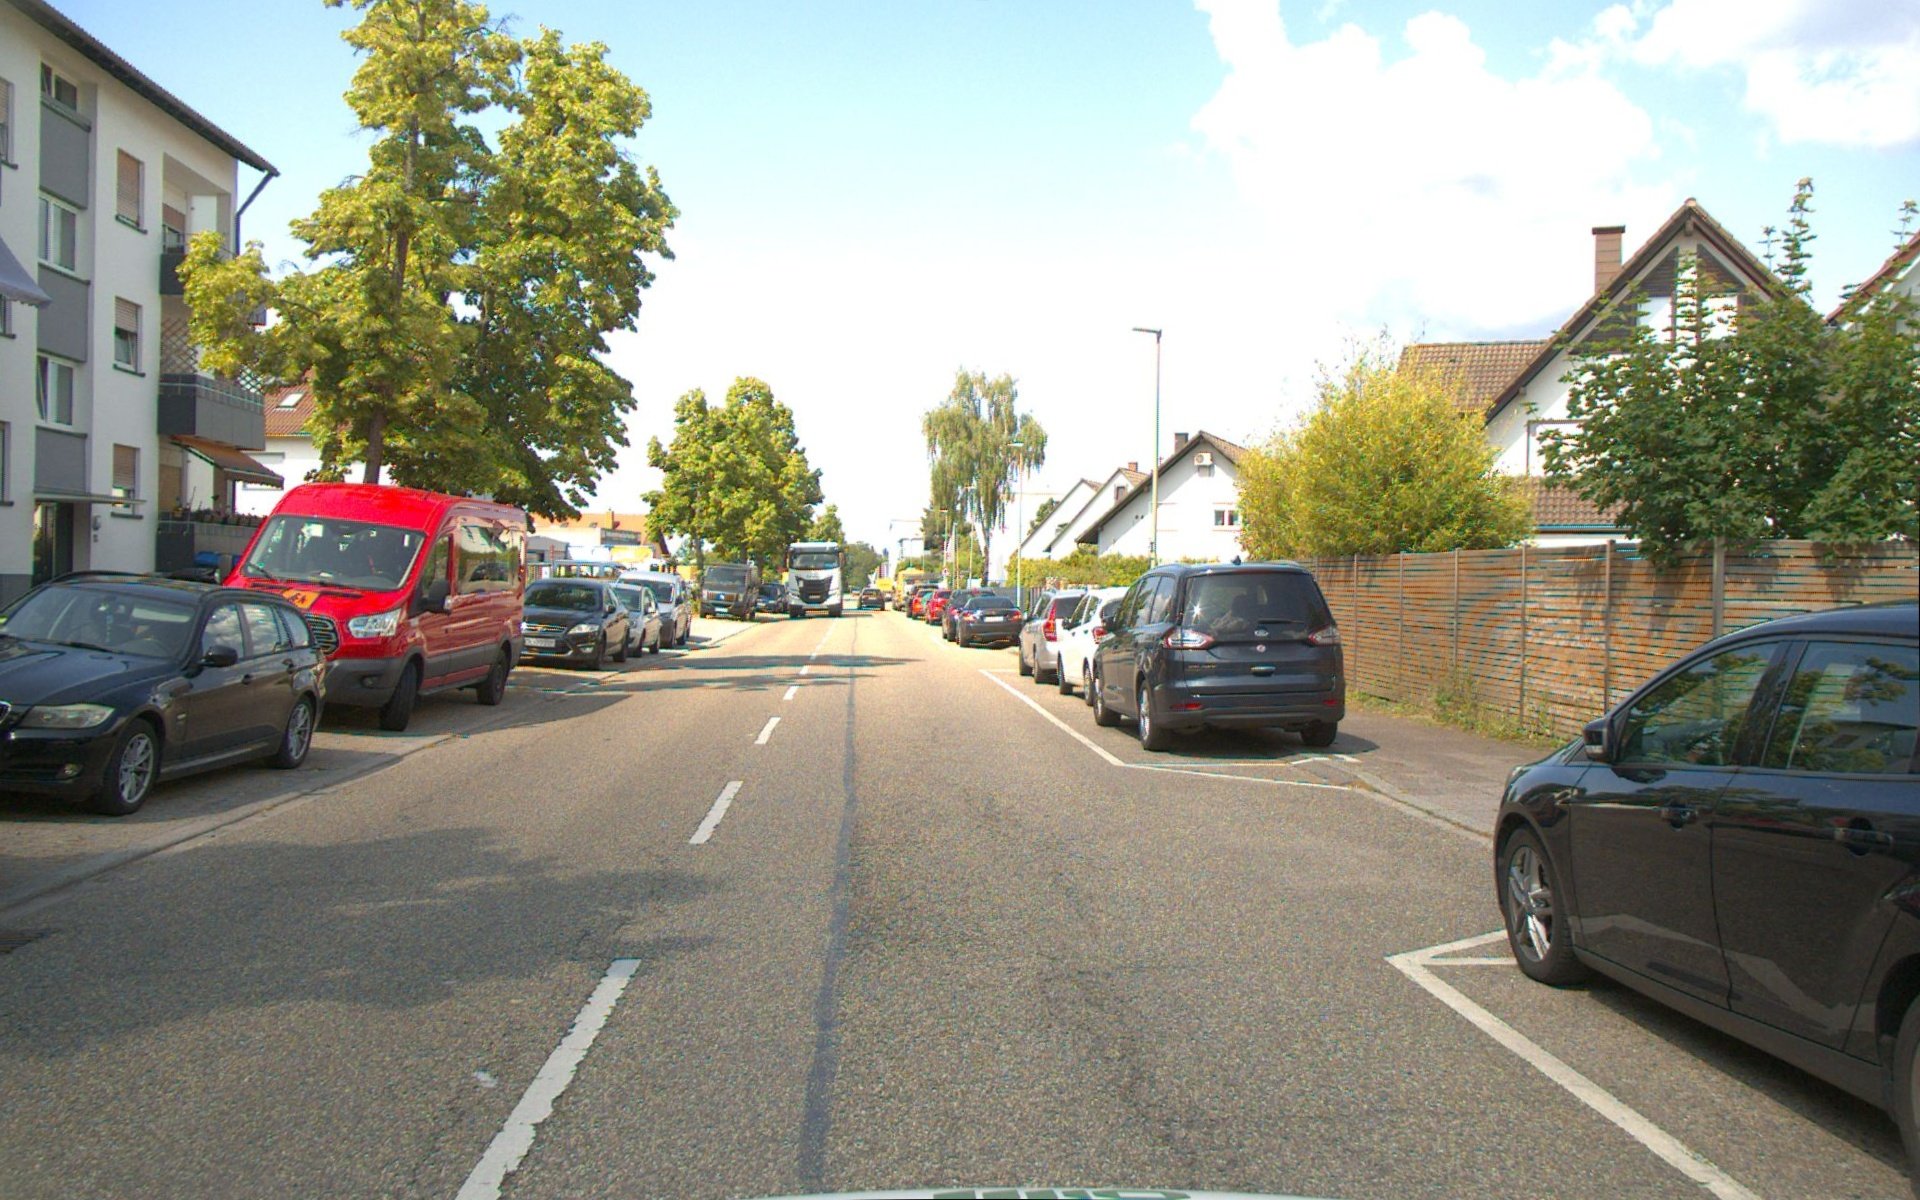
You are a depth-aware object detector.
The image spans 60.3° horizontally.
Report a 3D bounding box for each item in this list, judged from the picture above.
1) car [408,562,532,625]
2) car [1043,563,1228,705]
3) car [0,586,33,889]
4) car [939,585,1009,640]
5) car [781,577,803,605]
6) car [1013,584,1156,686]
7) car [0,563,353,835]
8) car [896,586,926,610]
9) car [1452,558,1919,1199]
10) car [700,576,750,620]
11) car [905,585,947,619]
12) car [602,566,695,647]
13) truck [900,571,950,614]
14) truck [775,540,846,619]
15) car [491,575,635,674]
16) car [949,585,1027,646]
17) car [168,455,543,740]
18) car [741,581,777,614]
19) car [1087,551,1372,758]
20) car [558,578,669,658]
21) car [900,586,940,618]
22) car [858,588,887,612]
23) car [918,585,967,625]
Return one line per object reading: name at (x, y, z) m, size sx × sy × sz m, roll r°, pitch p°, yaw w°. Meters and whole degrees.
car at (-13.080, -0.151, 44.452) m, size 1.750 × 1.482 × 4.436 m, roll 5°, pitch 0°, yaw 2°
car at (2.335, 0.414, 22.982) m, size 1.760 × 1.779 × 3.968 m, roll 1°, pitch 0°, yaw -6°
car at (-5.346, 0.618, 5.943) m, size 1.753 × 1.482 × 4.430 m, roll 5°, pitch 0°, yaw -5°
car at (0.374, 0.354, 49.346) m, size 1.759 × 1.550 × 3.970 m, roll 1°, pitch 0°, yaw -4°
car at (-14.352, -0.767, 141.418) m, size 1.752 × 2.291 × 4.767 m, roll 0°, pitch 0°, yaw -5°
car at (1.987, 0.524, 27.557) m, size 1.760 × 1.550 × 3.969 m, roll 1°, pitch 0°, yaw -5°
car at (-6.033, 0.554, 11.810) m, size 1.751 × 1.482 × 4.434 m, roll 5°, pitch 0°, yaw -2°
car at (-3.288, -0.159, 110.060) m, size 1.760 × 1.550 × 4.527 m, roll 1°, pitch 0°, yaw -5°
car at (3.106, 0.671, 5.047) m, size 1.702 × 1.535 × 4.474 m, roll 1°, pitch 0°, yaw -2°
car at (-9.850, -0.090, 69.705) m, size 1.753 × 1.628 × 4.430 m, roll 5°, pitch 0°, yaw -5°
car at (-1.644, 0.062, 78.072) m, size 1.759 × 1.550 × 4.528 m, roll 1°, pitch 0°, yaw -4°
car at (-7.761, 0.140, 41.566) m, size 1.753 × 1.776 × 4.430 m, roll 5°, pitch 0°, yaw -5°
truck at (-2.029, -0.434, 93.667) m, size 2.517 × 2.300 × 6.530 m, roll 1°, pitch 0°, yaw -4°
truck at (-7.321, -1.004, 82.374) m, size 2.805 × 3.574 × 12.349 m, roll 1°, pitch 0°, yaw -2°
car at (-6.942, 0.390, 29.337) m, size 1.753 × 1.482 × 4.430 m, roll 5°, pitch 0°, yaw -5°
car at (0.716, 0.383, 44.894) m, size 1.759 × 1.550 × 3.970 m, roll 1°, pitch 0°, yaw -4°
car at (-6.472, -0.056, 18.624) m, size 2.023 × 2.543 × 5.839 m, roll 5°, pitch 0°, yaw -2°
car at (-11.023, -0.150, 90.954) m, size 1.753 × 1.628 × 4.430 m, roll 5°, pitch 0°, yaw -5°
car at (2.522, 0.455, 16.661) m, size 1.760 × 1.779 × 4.579 m, roll 1°, pitch 0°, yaw -5°
car at (-7.443, 0.351, 35.924) m, size 1.753 × 1.482 × 4.430 m, roll 5°, pitch 0°, yaw -5°
car at (-2.035, 0.064, 82.822) m, size 1.759 × 1.550 × 4.528 m, roll 1°, pitch 0°, yaw -4°
car at (-5.821, -0.006, 109.669) m, size 1.760 × 1.550 × 4.527 m, roll 1°, pitch 0°, yaw -5°
car at (-0.760, 0.188, 68.329) m, size 1.759 × 1.550 × 4.528 m, roll 1°, pitch 0°, yaw -4°
